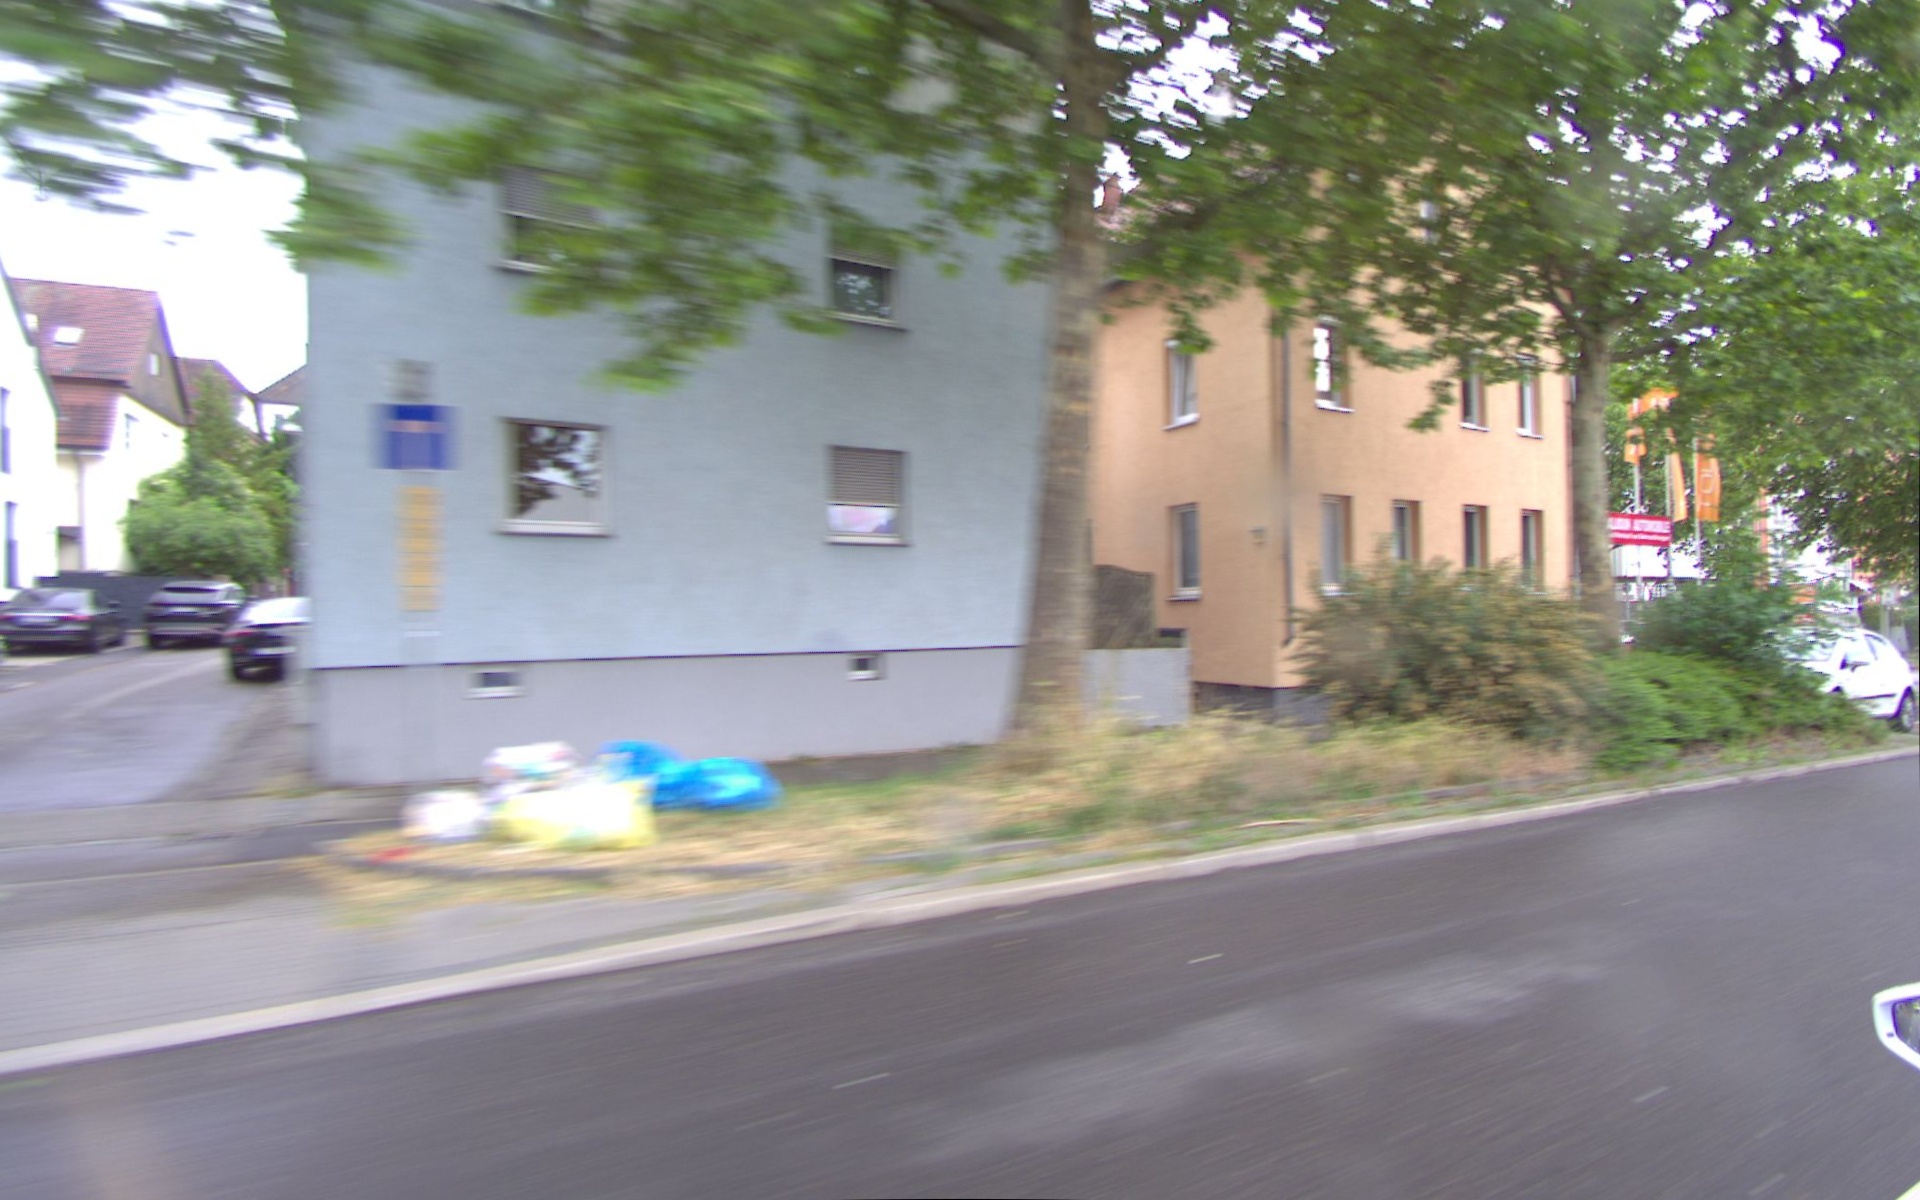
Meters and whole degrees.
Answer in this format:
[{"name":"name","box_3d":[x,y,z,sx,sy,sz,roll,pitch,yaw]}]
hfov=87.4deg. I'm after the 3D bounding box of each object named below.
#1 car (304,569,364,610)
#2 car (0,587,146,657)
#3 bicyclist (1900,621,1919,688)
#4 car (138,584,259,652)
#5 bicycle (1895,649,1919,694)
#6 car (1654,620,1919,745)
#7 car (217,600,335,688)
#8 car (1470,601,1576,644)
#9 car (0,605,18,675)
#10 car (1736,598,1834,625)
[{"name":"car","box_3d":[-27.403,-0.472,44.054,1.841,1.607,3.972,2,1,-27]},{"name":"car","box_3d":[-20.829,0.481,23.666,1.697,1.498,3.972,2,-1,-27]},{"name":"bicyclist","box_3d":[23.181,1.312,24.008,0.807,1.573,0.828,2,0,-31]},{"name":"car","box_3d":[-20.212,0.455,26.832,1.841,1.660,3.972,2,-1,-27]},{"name":"bicycle","box_3d":[22.976,1.693,23.869,2.241,1.009,0.551,2,-1,-33]},{"name":"car","box_3d":[12.176,1.084,14.672,4.302,1.572,1.776,1,-1,-31]},{"name":"car","box_3d":[-13.116,0.771,19.416,1.598,1.481,3.144,-1,1,-30]},{"name":"car","box_3d":[26.834,1.053,47.979,1.858,1.802,3.967,2,0,-30]},{"name":"car","box_3d":[-19.041,0.678,17.732,3.238,1.272,1.363,2,-1,-30]},{"name":"car","box_3d":[47.448,0.666,57.821,1.825,1.433,3.971,2,-1,-27]}]
